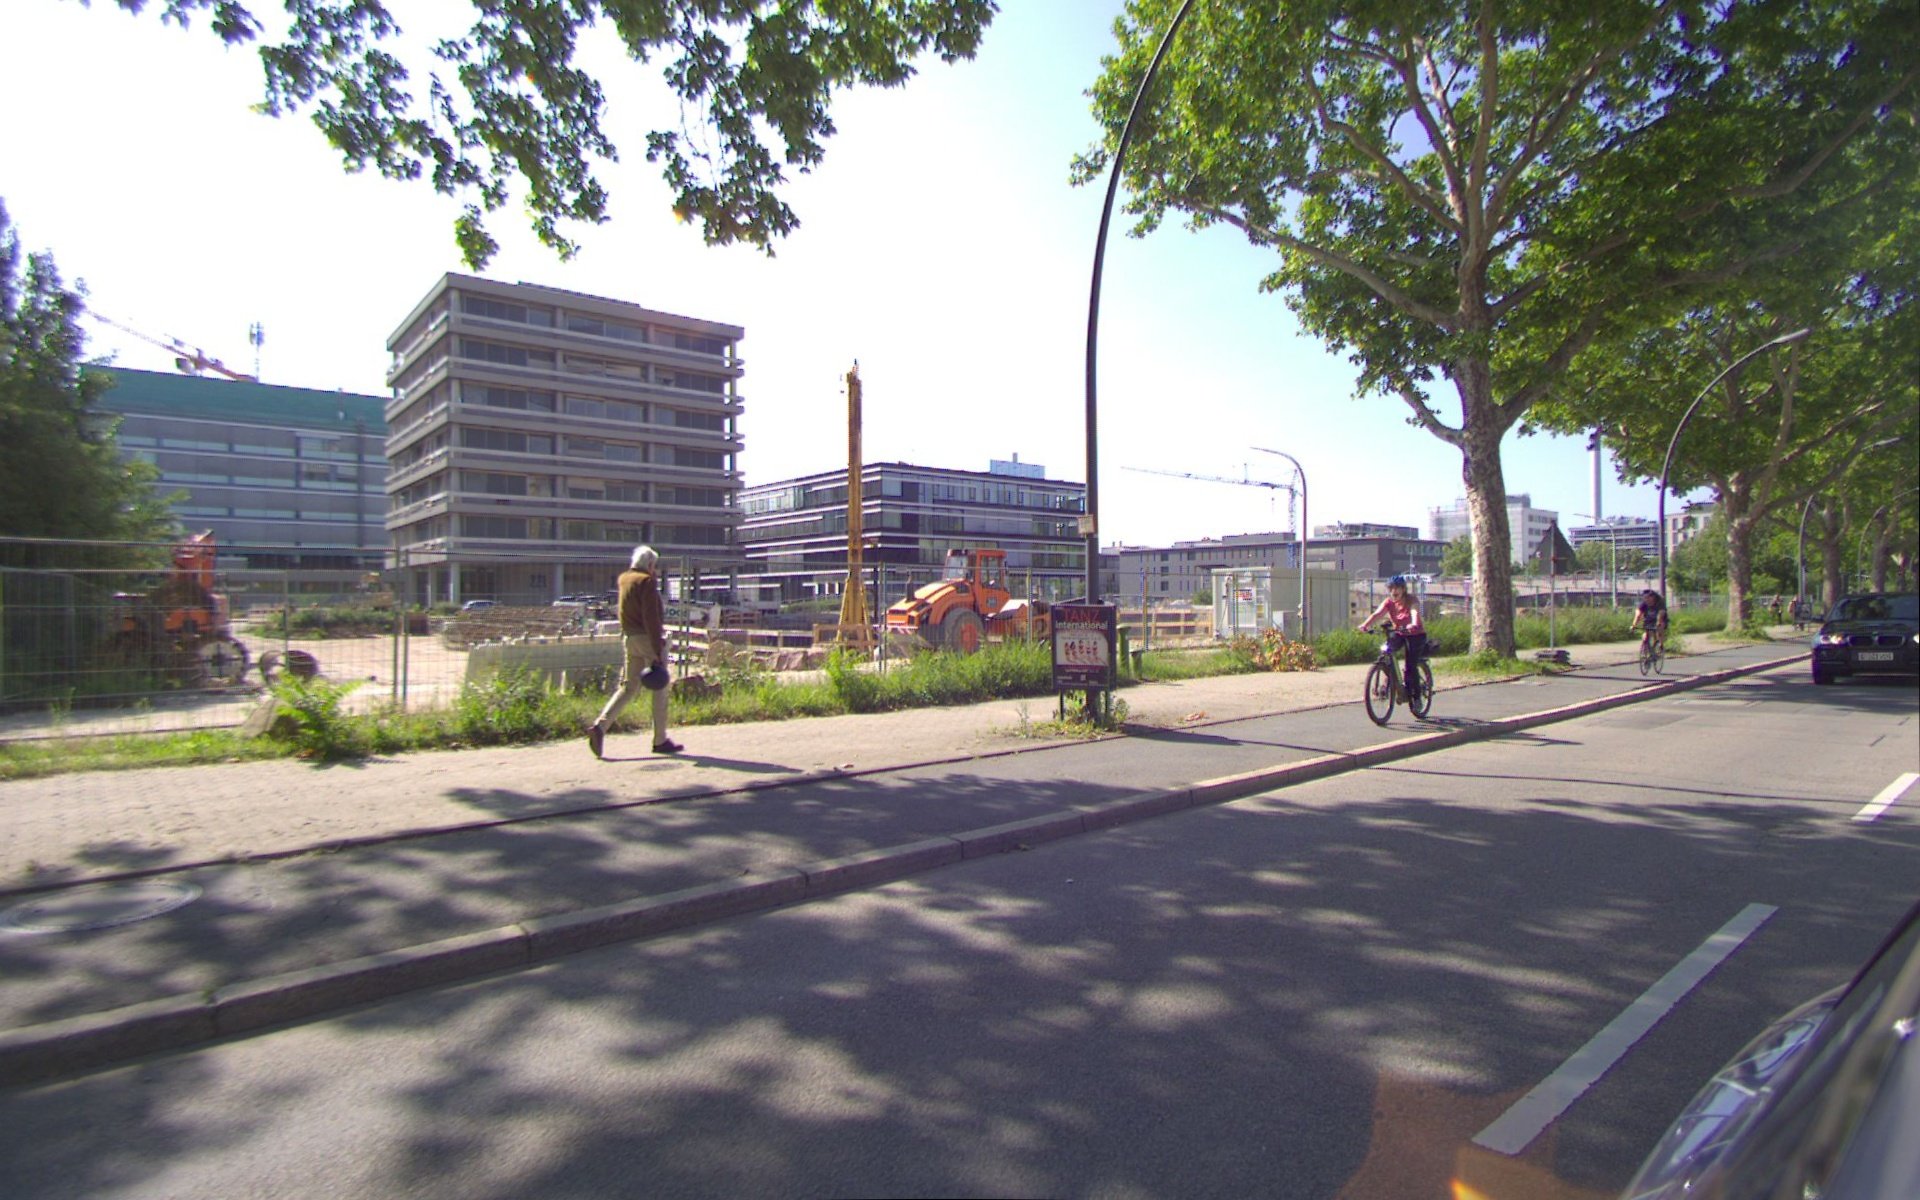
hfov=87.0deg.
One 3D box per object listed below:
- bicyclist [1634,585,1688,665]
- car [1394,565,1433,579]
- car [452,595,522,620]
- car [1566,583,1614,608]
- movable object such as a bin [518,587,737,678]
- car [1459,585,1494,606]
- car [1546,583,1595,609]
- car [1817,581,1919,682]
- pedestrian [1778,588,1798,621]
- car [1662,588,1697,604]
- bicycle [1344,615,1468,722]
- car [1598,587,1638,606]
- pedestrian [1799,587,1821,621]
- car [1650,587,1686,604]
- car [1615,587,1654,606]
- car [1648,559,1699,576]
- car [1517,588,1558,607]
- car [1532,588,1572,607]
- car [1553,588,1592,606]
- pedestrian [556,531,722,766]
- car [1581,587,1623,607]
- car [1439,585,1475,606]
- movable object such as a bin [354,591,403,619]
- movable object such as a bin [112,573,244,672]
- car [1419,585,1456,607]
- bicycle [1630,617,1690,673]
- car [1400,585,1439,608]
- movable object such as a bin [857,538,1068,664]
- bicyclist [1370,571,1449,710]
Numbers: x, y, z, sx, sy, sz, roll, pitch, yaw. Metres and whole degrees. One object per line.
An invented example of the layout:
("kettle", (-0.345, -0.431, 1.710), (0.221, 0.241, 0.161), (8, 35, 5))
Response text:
("bicyclist", (13.838, 0.476, 19.958), (1.194, 1.508, 0.599), (0, 2, -43))
("car", (55.140, -3.385, 123.102), (1.779, 1.529, 3.989), (0, -1, -44))
("car", (-34.953, 0.521, 74.839), (4.356, 1.794, 1.795), (0, 0, -40))
("car", (73.823, -0.496, 118.617), (1.779, 2.774, 4.366), (0, -1, -44))
("movable object such as a bin", (-20.585, 1.989, 63.718), (11.555, 5.242, 6.754), (-1, -1, 2))
("car", (71.752, -0.585, 140.719), (1.779, 2.774, 3.989), (0, -1, -44))
("car", (68.705, -0.446, 113.971), (1.779, 2.774, 4.366), (0, -1, -44))
("car", (17.952, 0.534, 19.256), (4.080, 1.752, 1.922), (-1, -1, -42))
("pedestrian", (43.651, 0.231, 53.360), (0.943, 1.705, 0.696), (0, -1, -43))
("car", (107.809, -0.650, 151.621), (1.779, 2.352, 3.989), (0, -1, -44))
("bicycle", (5.433, 0.784, 12.278), (1.912, 1.143, 0.652), (0, 1, -42))
("car", (83.389, -0.403, 128.264), (1.779, 2.352, 3.989), (0, -1, -44))
("pedestrian", (44.082, 0.217, 52.489), (1.048, 1.746, 0.710), (0, -1, -43))
("car", (102.857, -0.601, 147.036), (1.779, 2.352, 3.989), (0, -1, -44))
("car", (88.477, -0.453, 132.738), (1.779, 2.352, 3.989), (0, -1, -44))
("car", (72.945, -3.297, 103.512), (1.779, 1.529, 3.989), (0, -1, -44))
("car", (70.019, -0.294, 122.778), (1.779, 2.352, 3.989), (0, -1, -44))
("car", (73.970, -0.334, 126.549), (1.779, 2.352, 3.989), (0, -1, -44))
("car", (79.882, -0.394, 132.059), (1.779, 2.352, 3.989), (0, -1, -44))
("pedestrian", (-2.848, 0.394, 8.985), (1.131, 1.916, 0.940), (0, -1, -41))
("car", (77.783, -0.345, 122.676), (1.779, 2.352, 3.989), (0, -1, -44))
("car", (66.809, -0.535, 136.028), (1.779, 2.774, 3.989), (0, -1, -44))
("movable object such as a bin", (-43.213, 0.328, 75.158), (2.623, 2.039, 2.754), (0, 0, -43))
("movable object such as a bin", (-26.189, 0.710, 33.811), (3.236, 3.013, 5.184), (0, -1, -41))
("car", (61.930, -0.486, 131.330), (1.779, 2.774, 3.989), (0, -1, -44))
("bicycle", (13.794, 0.865, 19.932), (1.751, 0.992, 0.598), (0, 2, -43))
("car", (57.256, -0.436, 126.197), (1.779, 2.774, 3.989), (0, -1, -44))
("movable object such as a bin", (0.198, 0.042, 27.974), (5.887, 3.111, 2.370), (0, -1, -45))
("bicyclist", (5.450, 0.464, 12.272), (0.720, 1.620, 0.620), (0, 1, -43))
